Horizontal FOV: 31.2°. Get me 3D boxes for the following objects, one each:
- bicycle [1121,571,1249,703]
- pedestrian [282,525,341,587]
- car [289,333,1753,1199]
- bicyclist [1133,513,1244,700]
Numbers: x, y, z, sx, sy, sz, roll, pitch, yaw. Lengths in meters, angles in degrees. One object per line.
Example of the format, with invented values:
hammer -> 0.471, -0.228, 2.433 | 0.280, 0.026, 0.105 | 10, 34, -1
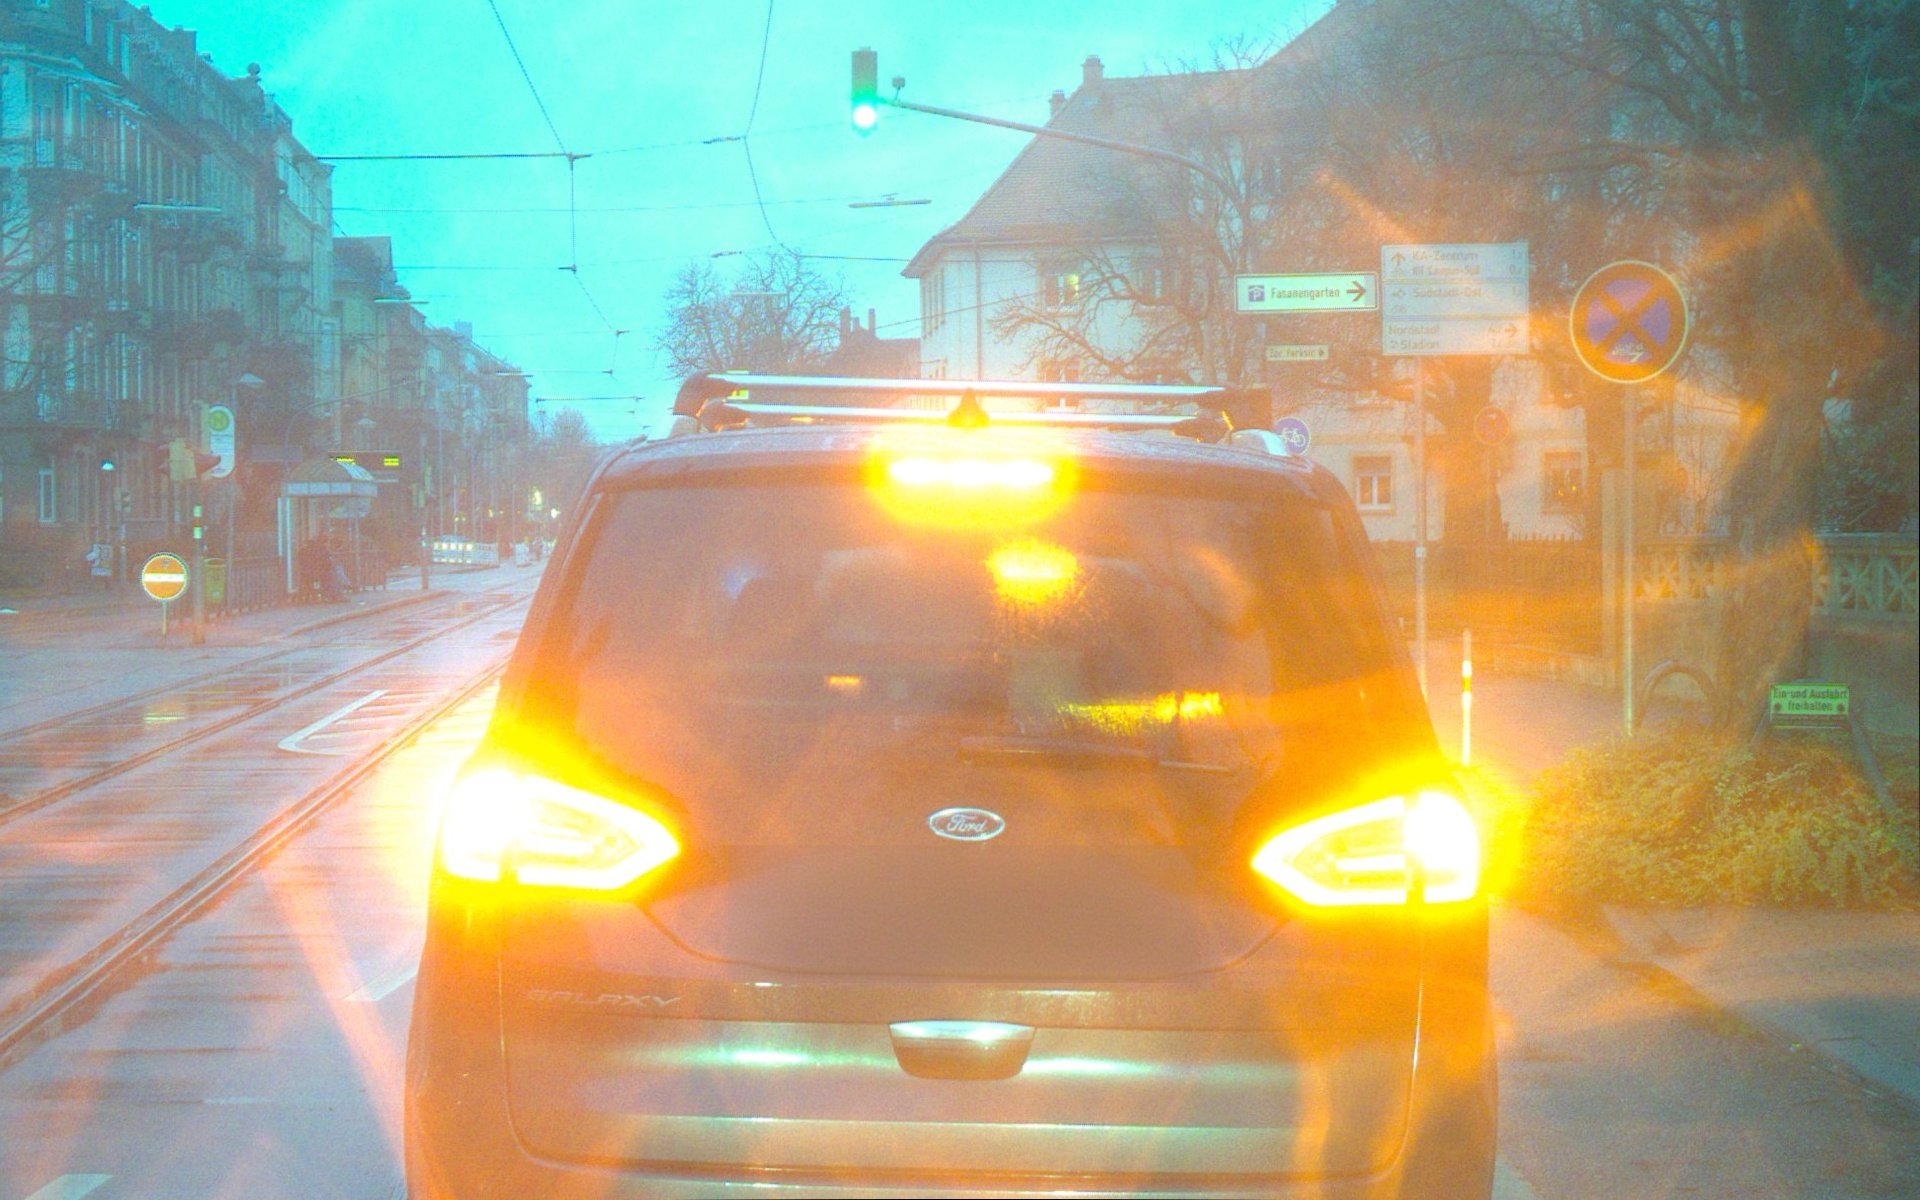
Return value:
bicycle -> 2.064, 0.324, 31.808 | 0.716, 1.108, 1.942 | 4, 1, -9
pedestrian -> -12.808, -0.871, 67.925 | 1.047, 1.196, 0.885 | 0, 0, -3
car -> 0.000, 0.496, 7.343 | 2.103, 1.810, 4.661 | 1, 1, -2
bicyclist -> 2.097, 0.050, 31.692 | 0.716, 1.657, 1.057 | 3, 1, -8
